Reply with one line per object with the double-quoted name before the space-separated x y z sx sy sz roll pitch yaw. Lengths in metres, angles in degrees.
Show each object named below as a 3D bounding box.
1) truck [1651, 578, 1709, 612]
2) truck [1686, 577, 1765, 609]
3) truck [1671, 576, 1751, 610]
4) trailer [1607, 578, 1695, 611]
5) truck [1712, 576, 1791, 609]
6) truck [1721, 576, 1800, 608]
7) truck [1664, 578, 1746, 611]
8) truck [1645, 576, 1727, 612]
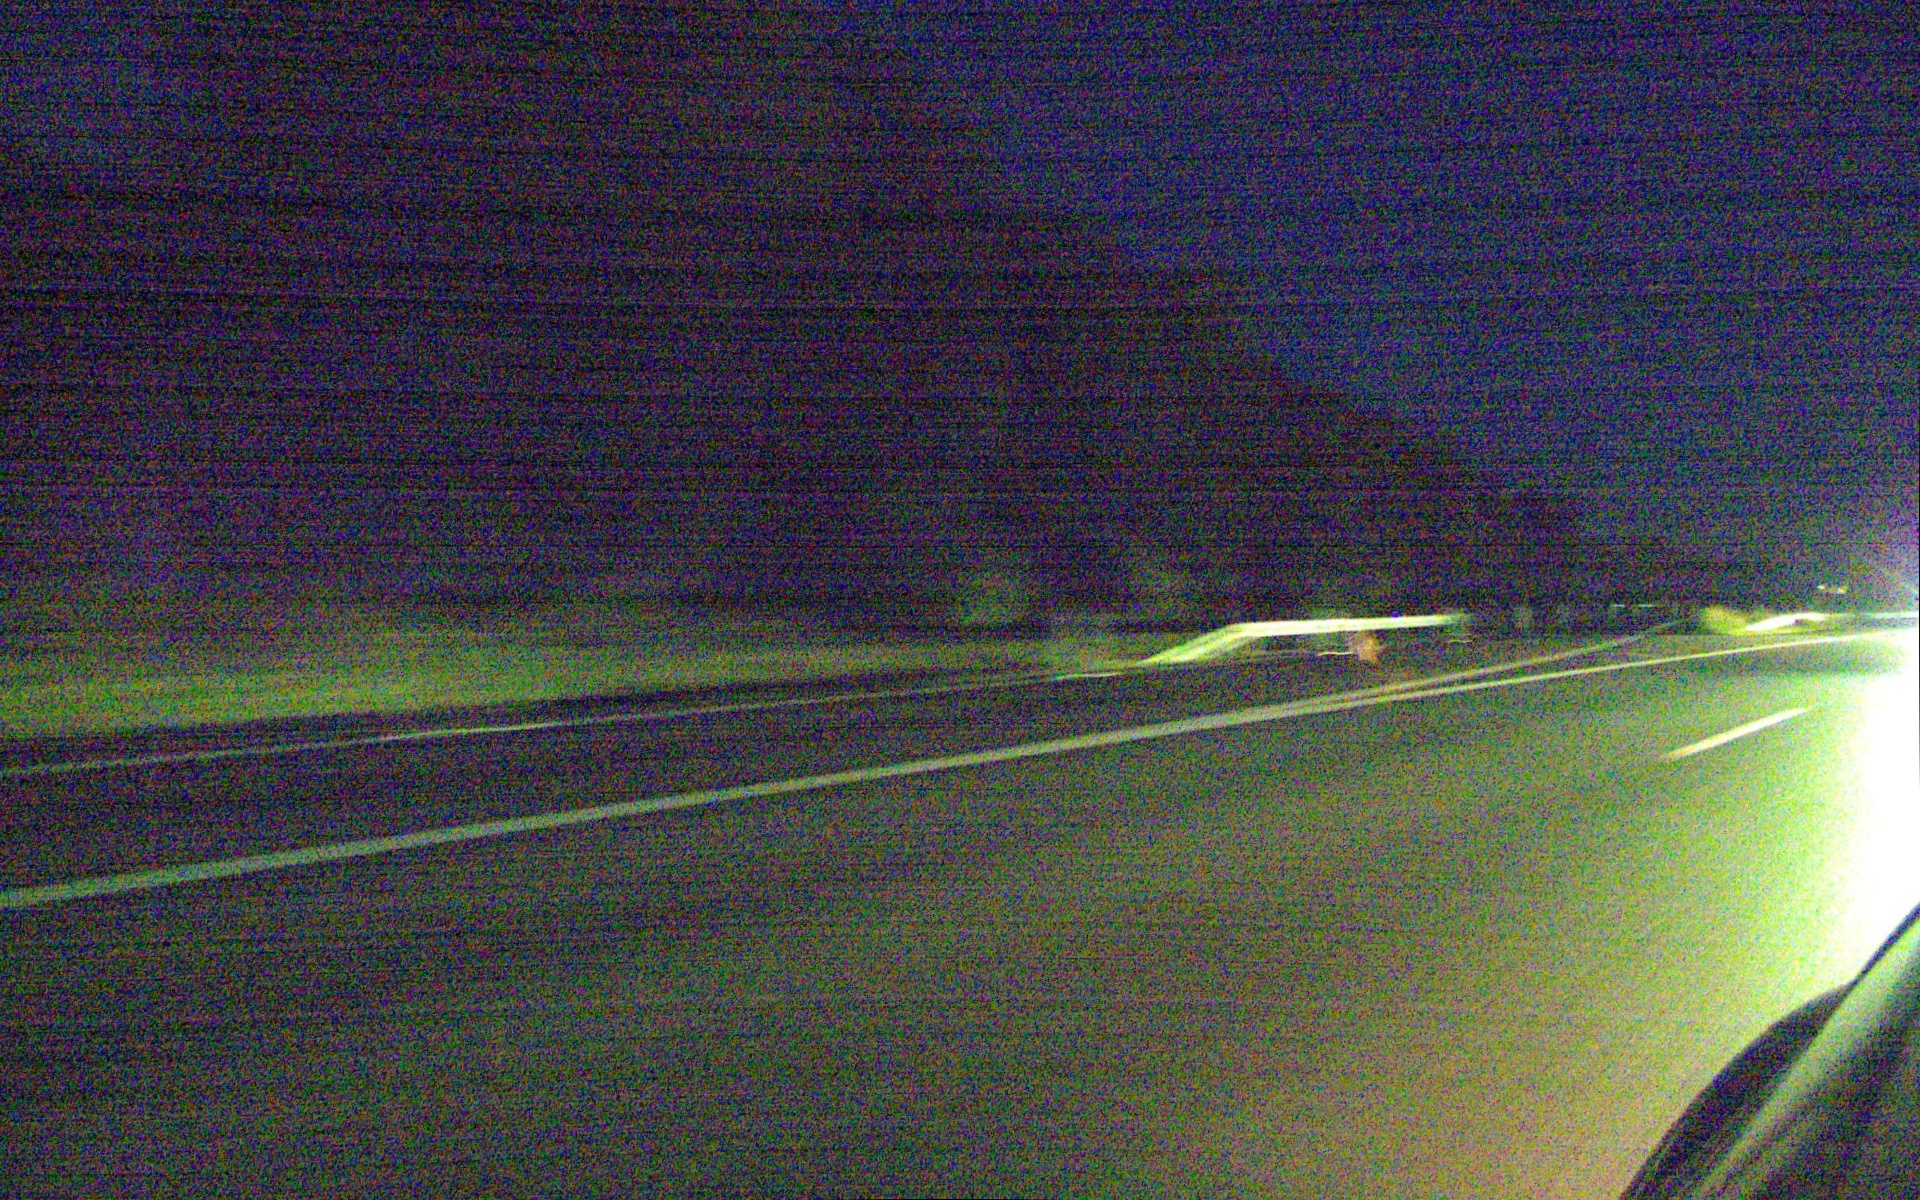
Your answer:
"truck" 81.566 -0.586 114.784 2.488 3.695 6.201 -1 0 5
"truck" 98.028 -0.887 129.867 3.004 3.975 9.655 -1 0 3
"truck" 93.737 -0.821 126.599 3.004 3.975 9.655 -1 0 3
"trailer" 82.075 -0.633 120.568 2.498 3.711 12.979 -1 0 5
"truck" 101.560 -0.944 130.105 2.906 3.975 9.655 -1 0 3
"truck" 104.983 -0.996 133.018 3.004 3.975 9.655 -1 0 3
"truck" 89.787 -0.641 122.194 3.004 3.735 9.655 -1 0 3
"truck" 85.742 -0.698 119.805 3.004 3.975 9.655 -1 0 3
